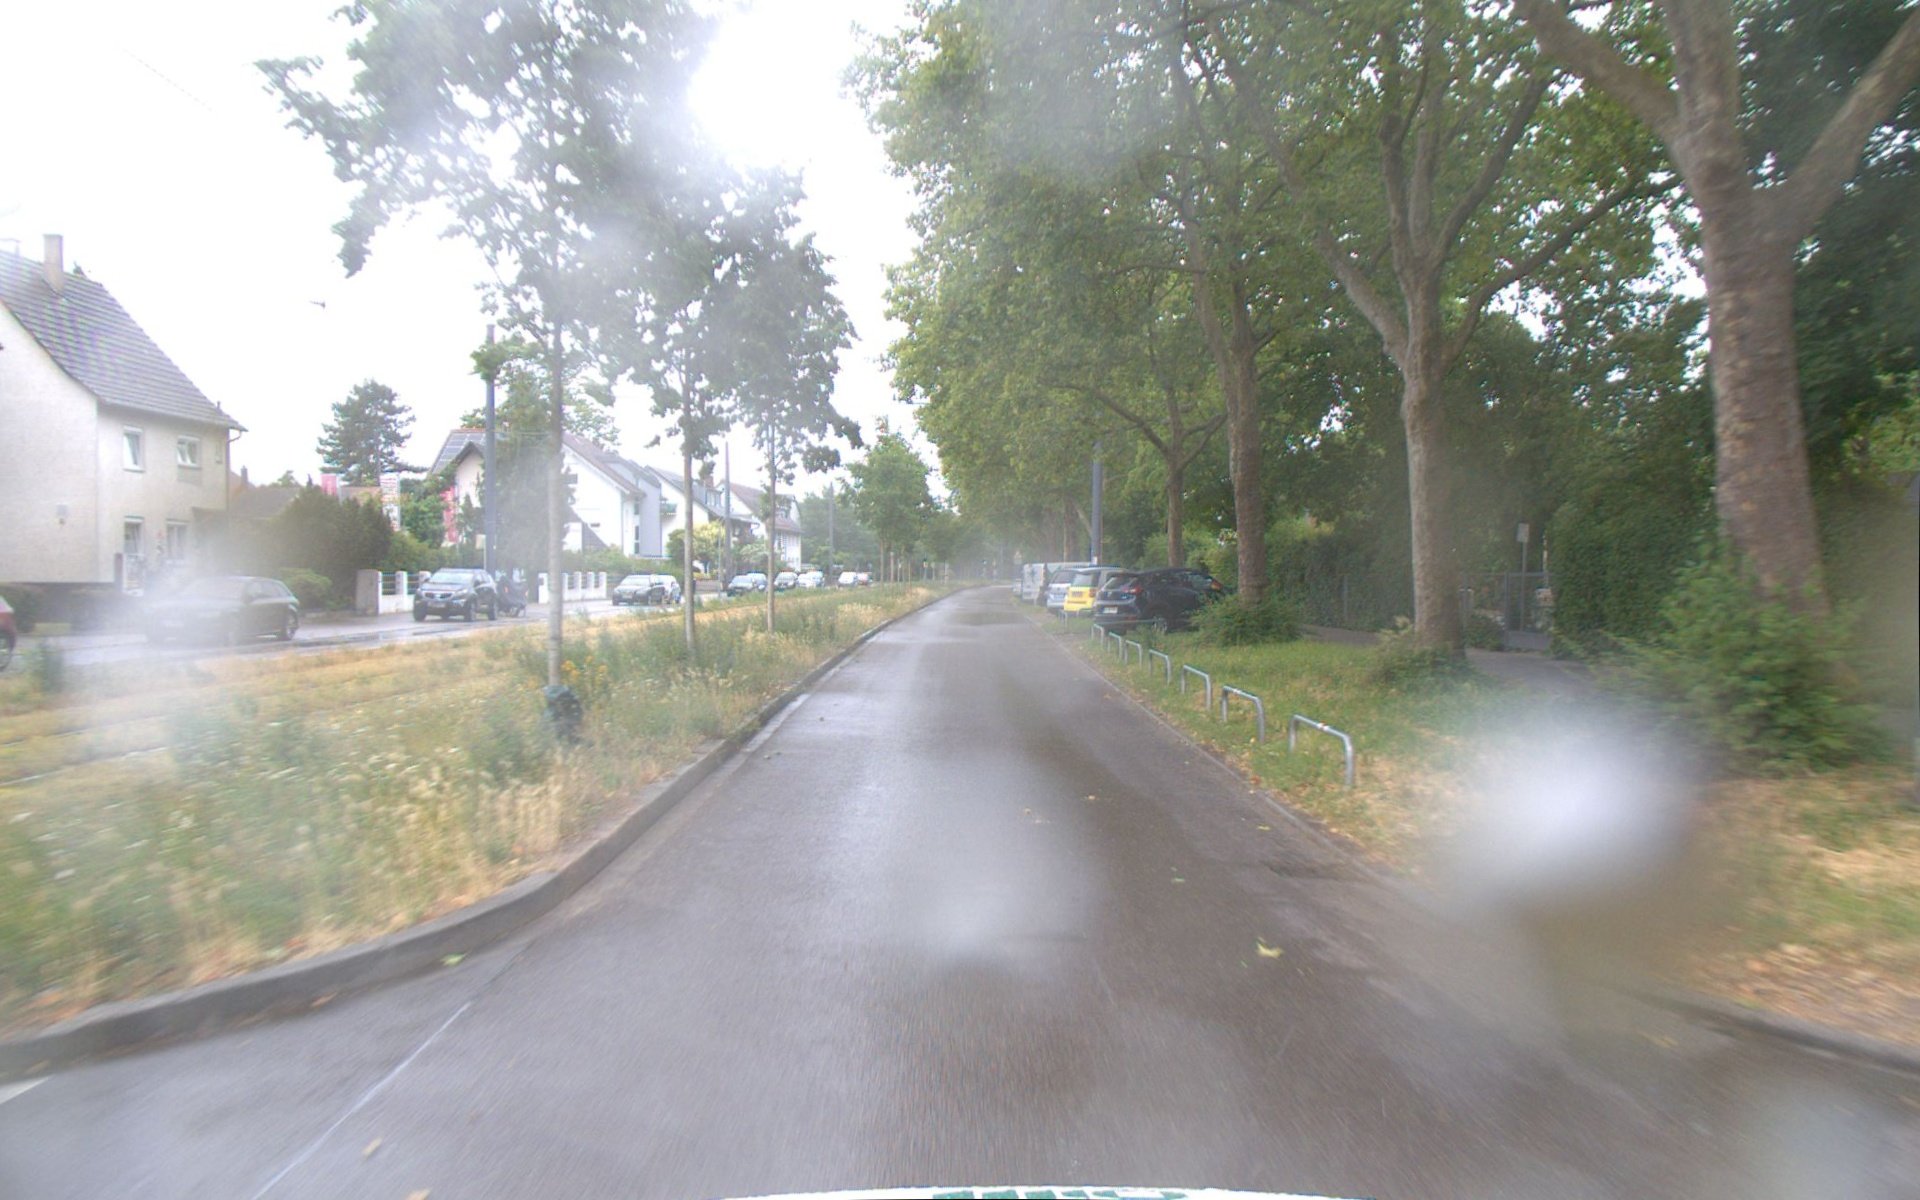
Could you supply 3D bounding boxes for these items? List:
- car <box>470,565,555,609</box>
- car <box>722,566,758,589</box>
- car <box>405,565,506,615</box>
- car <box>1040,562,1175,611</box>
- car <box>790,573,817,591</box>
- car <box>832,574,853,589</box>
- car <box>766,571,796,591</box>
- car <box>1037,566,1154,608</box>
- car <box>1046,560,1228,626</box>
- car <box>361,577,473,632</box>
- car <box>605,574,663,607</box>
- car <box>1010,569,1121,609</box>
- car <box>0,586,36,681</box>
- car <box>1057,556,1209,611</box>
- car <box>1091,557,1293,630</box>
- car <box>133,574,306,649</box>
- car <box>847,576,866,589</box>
[{"bbox_3d":[-16.053,-0.464,59.538,1.888,1.512,4.001,1,0,1],"label":"car"},{"bbox_3d":[-15.156,-1.530,114.064,1.888,1.512,4.001,1,0,1],"label":"car"},{"bbox_3d":[-16.078,-0.299,52.896,1.888,1.512,4.001,1,0,1],"label":"car"},{"bbox_3d":[4.772,-0.429,53.743,3.923,1.478,1.991,1,0,-17],"label":"car"},{"bbox_3d":[-14.014,-1.629,148.320,1.888,1.512,4.001,1,0,1],"label":"car"},{"bbox_3d":[-12.682,-2.012,178.449,1.888,1.512,4.001,1,0,1],"label":"car"},{"bbox_3d":[-14.736,-1.561,136.251,1.888,1.512,4.001,1,0,1],"label":"car"},{"bbox_3d":[5.080,-0.479,62.204,3.923,1.478,1.991,1,0,-17],"label":"car"},{"bbox_3d":[4.260,-0.153,39.934,3.923,1.478,1.991,1,0,-17],"label":"car"},{"bbox_3d":[-15.890,0.123,48.623,1.888,1.512,4.001,1,0,1],"label":"car"},{"bbox_3d":[-15.665,-0.466,79.615,1.888,1.512,4.001,1,0,1],"label":"car"},{"bbox_3d":[4.139,-0.434,65.125,3.923,1.478,1.991,1,0,-17],"label":"car"},{"bbox_3d":[-16.135,0.516,25.101,1.888,1.512,4.001,1,0,1],"label":"car"},{"bbox_3d":[5.004,-0.463,47.970,3.923,1.478,1.991,1,0,-17],"label":"car"},{"bbox_3d":[5.050,-0.134,36.228,3.923,1.478,1.991,1,0,-17],"label":"car"},{"bbox_3d":[-16.008,0.237,36.000,1.888,1.512,4.001,1,0,1],"label":"car"},{"bbox_3d":[-12.032,-2.040,192.421,1.888,1.512,4.001,1,0,1],"label":"car"}]
